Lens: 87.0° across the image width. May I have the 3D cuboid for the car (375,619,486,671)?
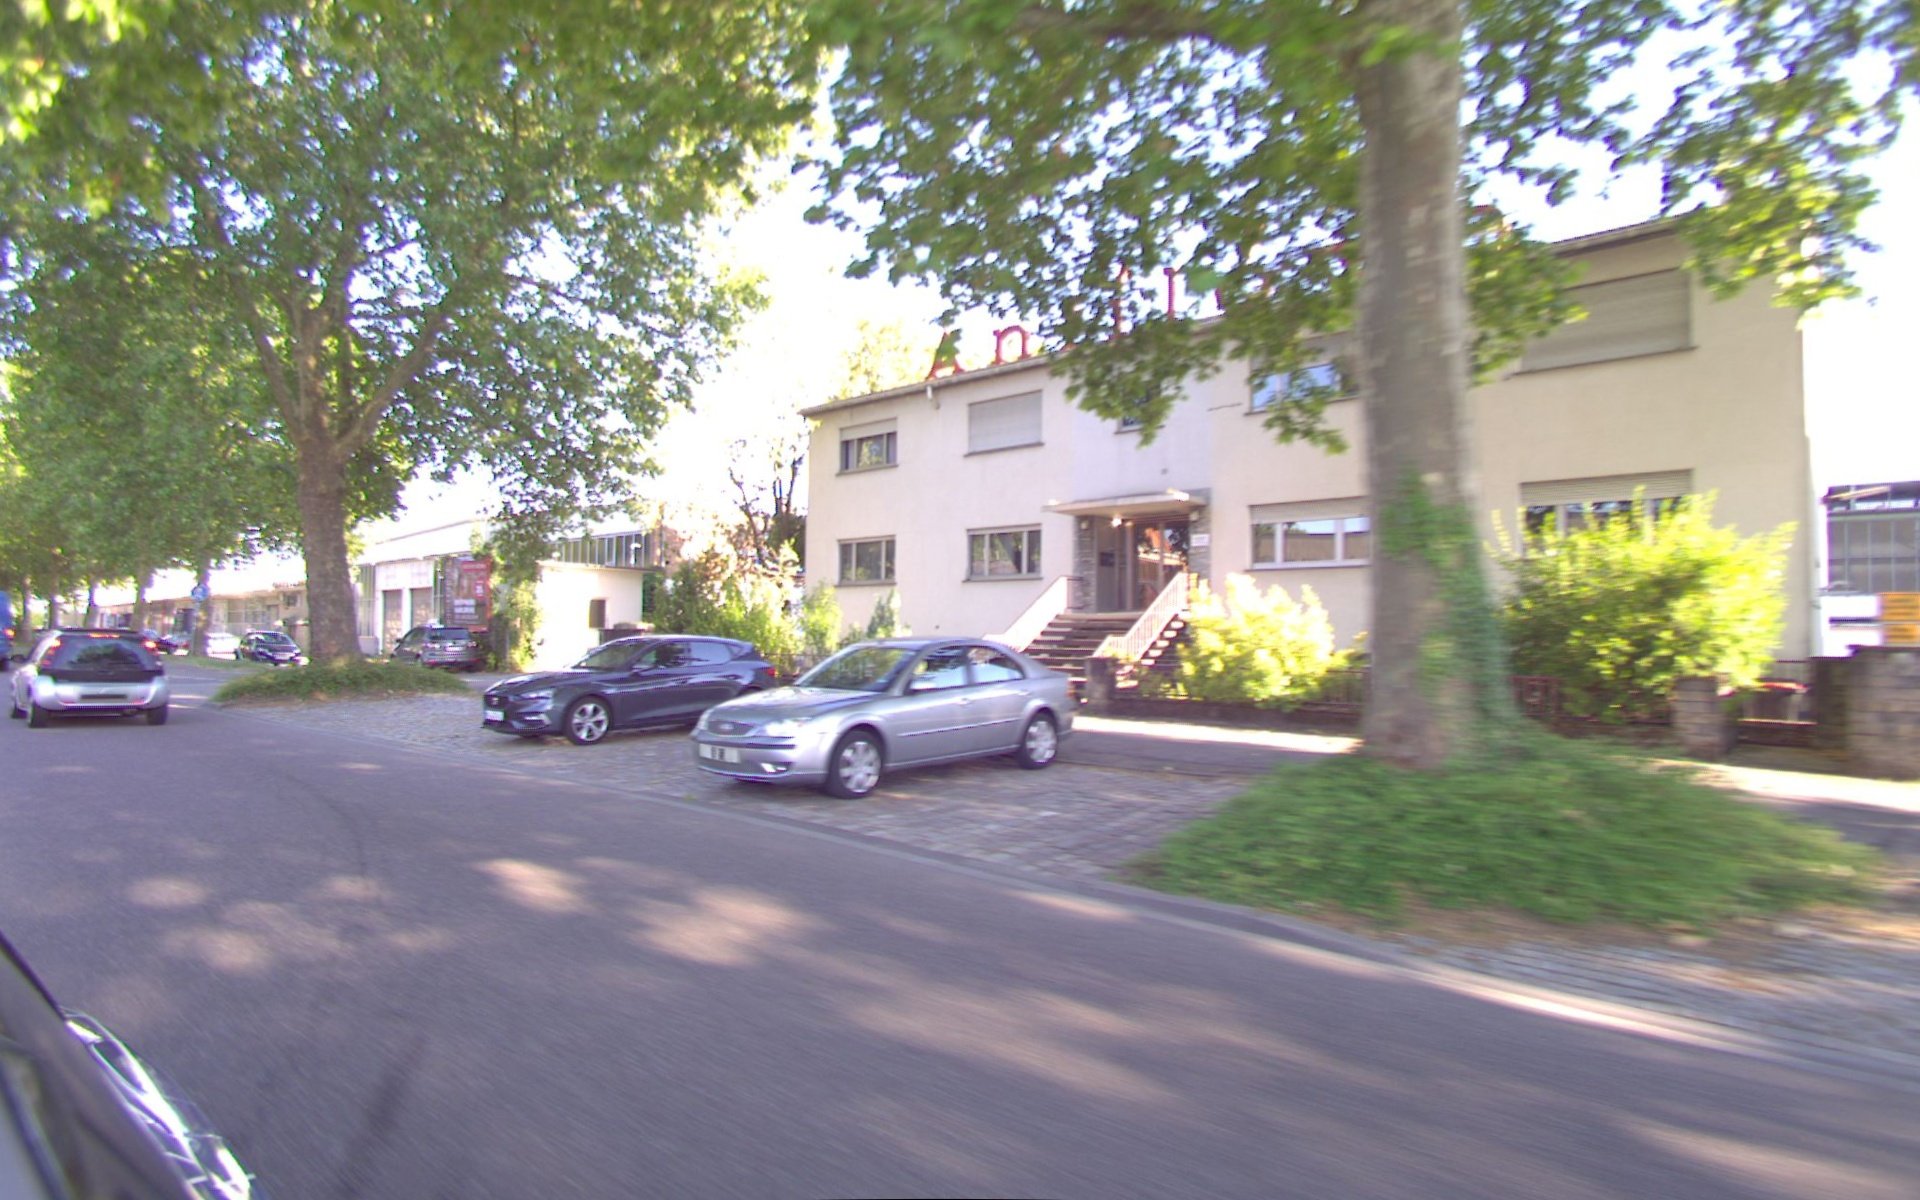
[{"bbox_3d":[-17.417,1.413,33.199,4.274,1.588,1.971,-1,-1,44],"label":"car"}]

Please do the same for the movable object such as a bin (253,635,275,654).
[{"bbox_3d":[-55.971,3.564,81.403,1.572,1.442,1.045,-1,-1,40],"label":"movable object such as a bin"}]

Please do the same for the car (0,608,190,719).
[{"bbox_3d":[-14.114,0.989,16.411,3.801,1.583,1.819,-1,-4,42],"label":"car"}]

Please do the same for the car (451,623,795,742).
[{"bbox_3d":[-4.677,1.089,14.584,1.998,1.433,4.310,-2,-3,39],"label":"car"}]

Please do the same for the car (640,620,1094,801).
[{"bbox_3d":[-0.720,0.969,10.422,1.999,1.433,4.551,-2,-3,41],"label":"car"}]

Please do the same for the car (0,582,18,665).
[{"bbox_3d":[-34.264,0.843,34.755,6.999,2.680,2.105,-2,-4,42],"label":"car"}]

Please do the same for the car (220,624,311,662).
[{"bbox_3d":[-29.210,1.803,42.536,3.915,1.380,1.975,-1,-7,38],"label":"car"}]
